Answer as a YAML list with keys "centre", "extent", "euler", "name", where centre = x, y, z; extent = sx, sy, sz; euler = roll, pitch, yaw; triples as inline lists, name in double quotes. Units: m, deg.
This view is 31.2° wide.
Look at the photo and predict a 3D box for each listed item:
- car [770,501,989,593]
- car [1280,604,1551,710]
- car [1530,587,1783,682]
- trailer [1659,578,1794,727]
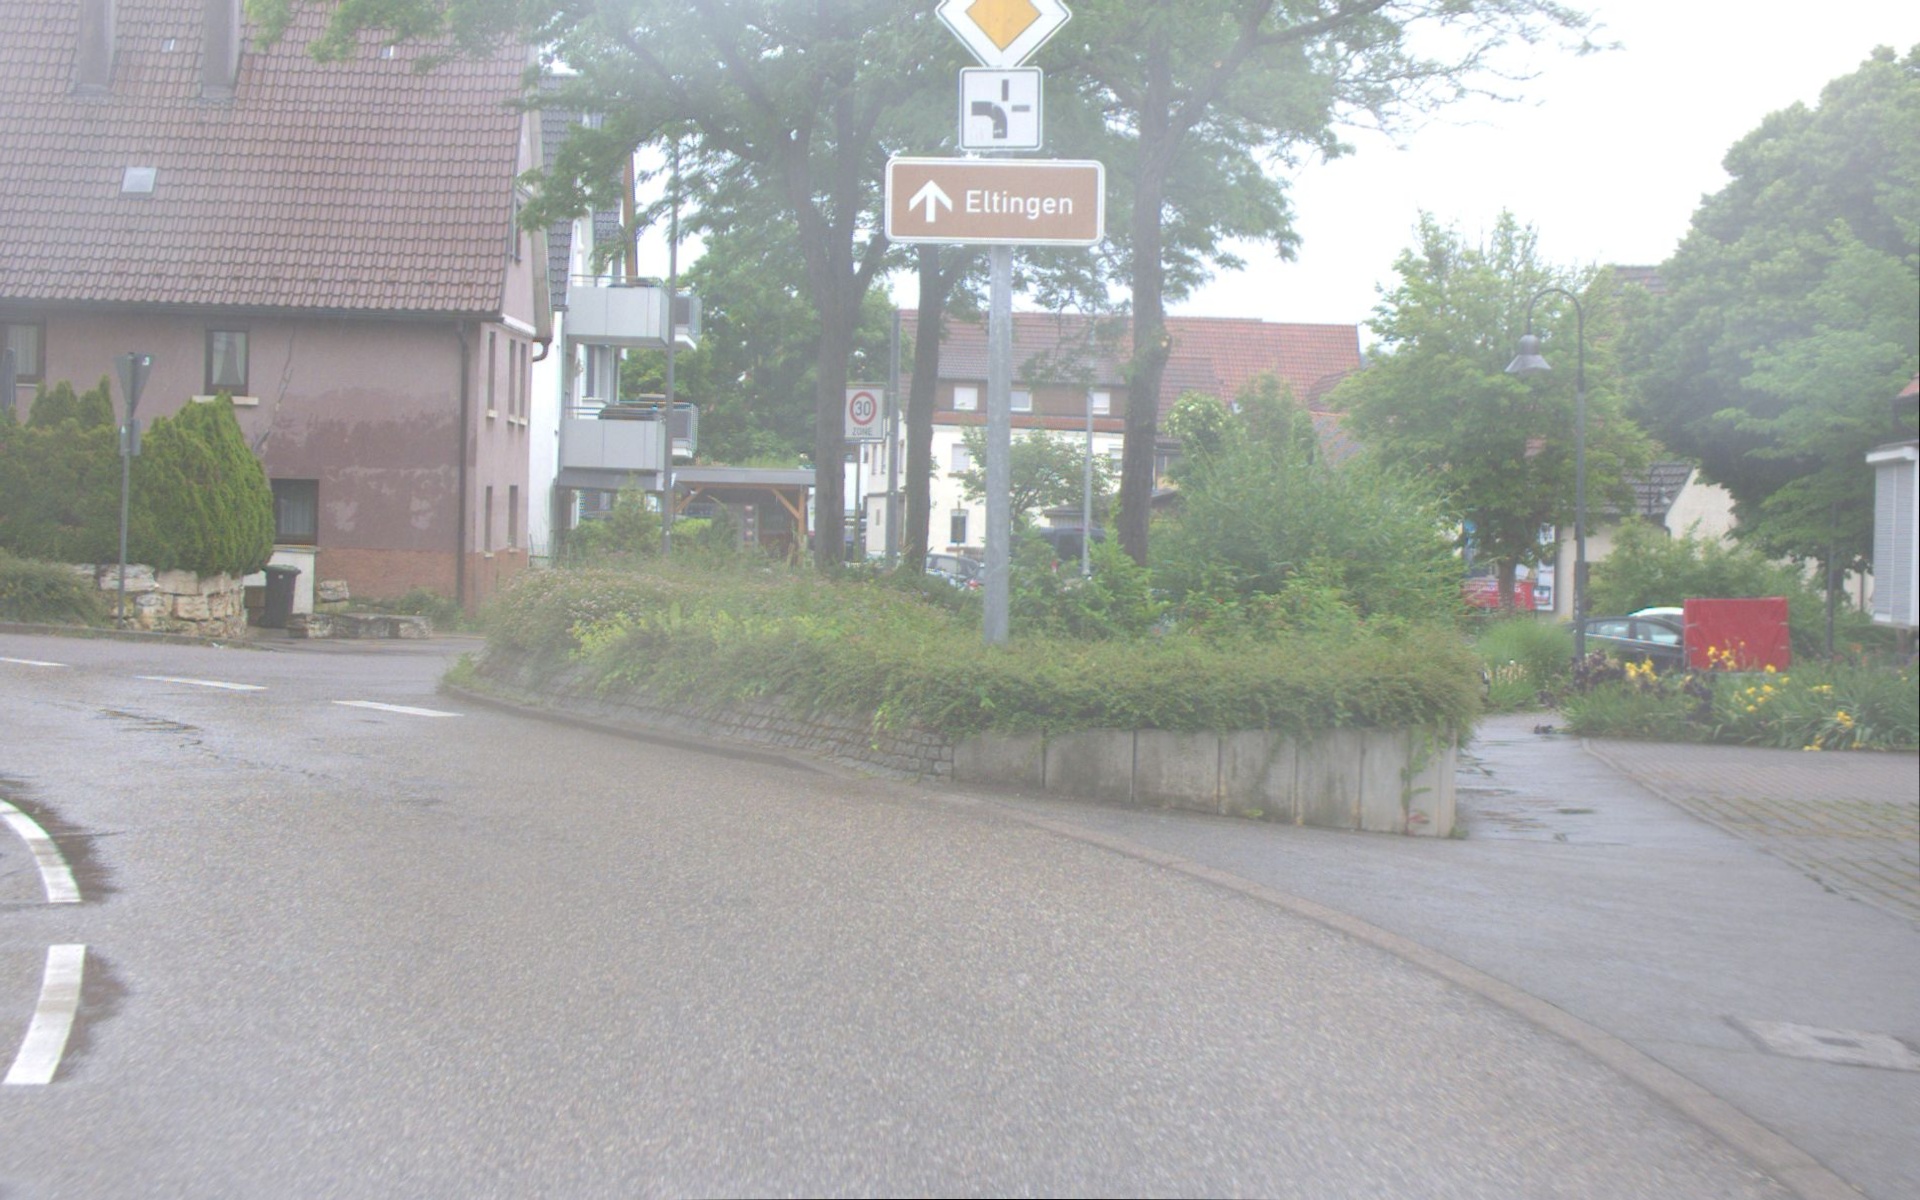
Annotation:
- centre: [-1.521, -1.000, 65.021]
  extent: [3.987, 1.451, 1.946]
  euler: [4, 1, -1]
  name: "car"
- centre: [6.576, 0.806, 49.761]
  extent: [3.769, 1.333, 1.714]
  euler: [2, 1, 7]
  name: "car"
- centre: [13.836, 0.682, 68.308]
  extent: [4.475, 1.546, 1.997]
  euler: [4, 1, 26]
  name: "car"
- centre: [9.253, 0.605, 41.635]
  extent: [1.408, 1.643, 2.723]
  euler: [4, 1, 11]
  name: "trailer"
